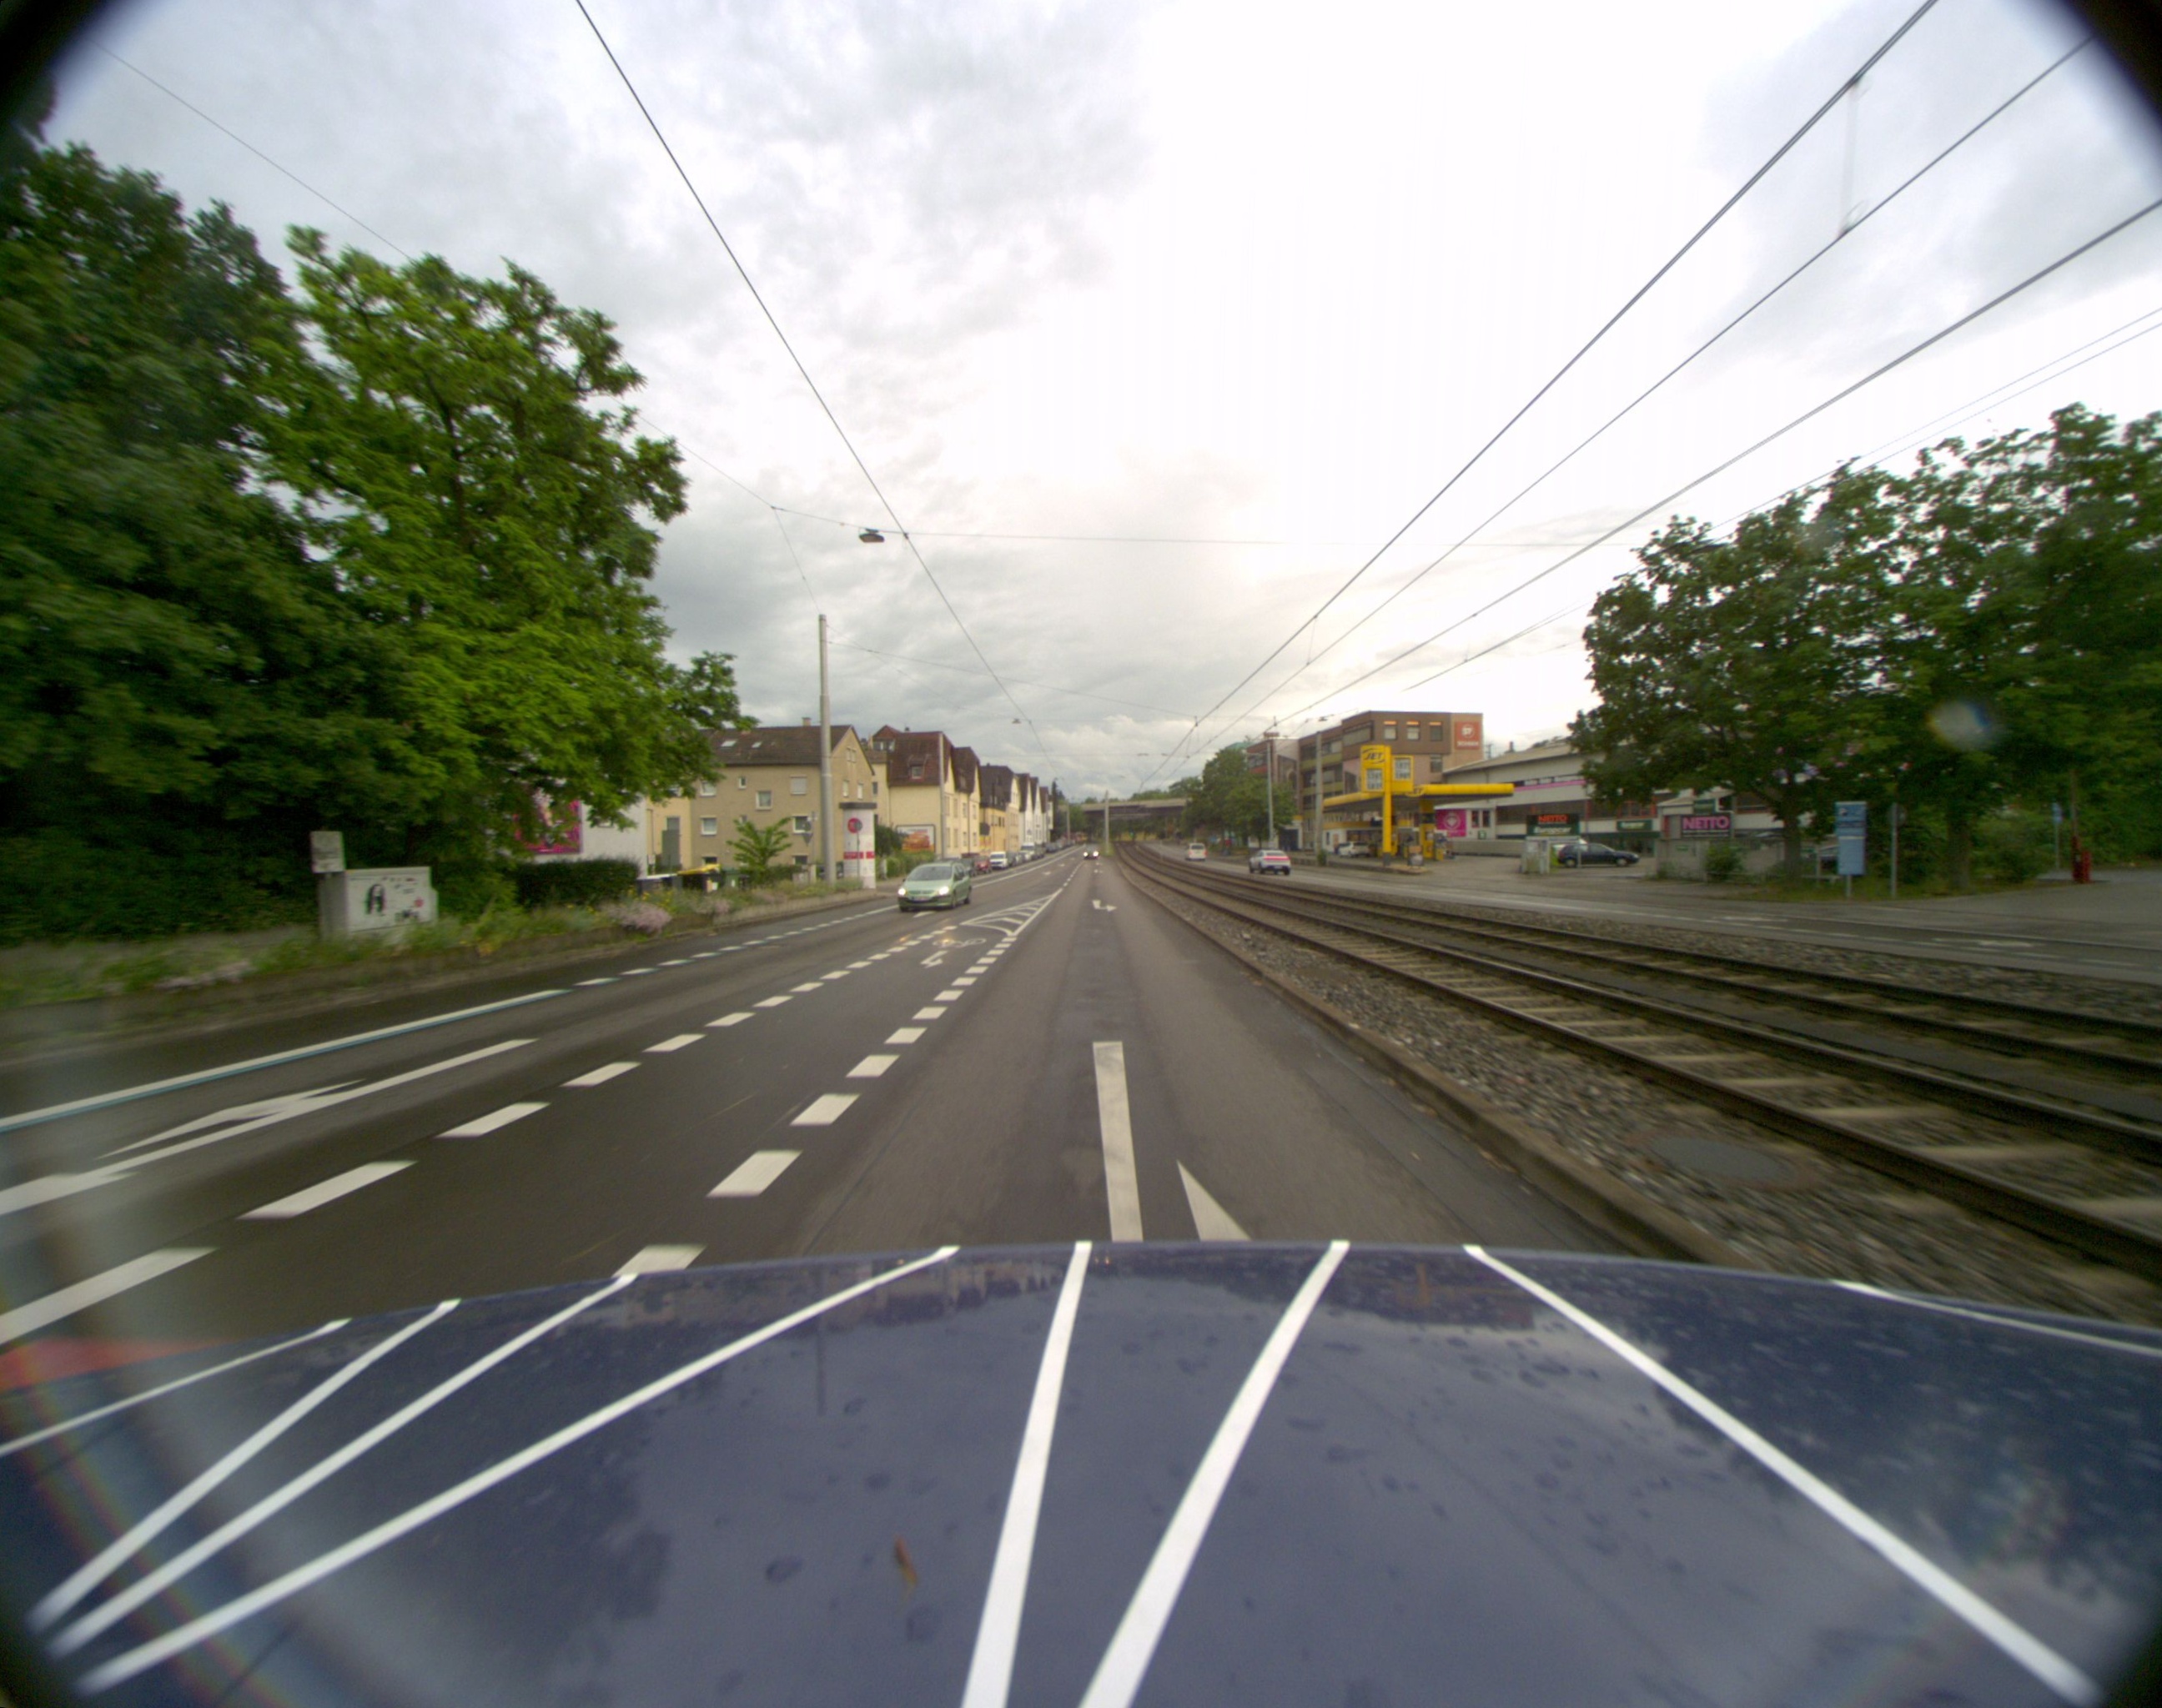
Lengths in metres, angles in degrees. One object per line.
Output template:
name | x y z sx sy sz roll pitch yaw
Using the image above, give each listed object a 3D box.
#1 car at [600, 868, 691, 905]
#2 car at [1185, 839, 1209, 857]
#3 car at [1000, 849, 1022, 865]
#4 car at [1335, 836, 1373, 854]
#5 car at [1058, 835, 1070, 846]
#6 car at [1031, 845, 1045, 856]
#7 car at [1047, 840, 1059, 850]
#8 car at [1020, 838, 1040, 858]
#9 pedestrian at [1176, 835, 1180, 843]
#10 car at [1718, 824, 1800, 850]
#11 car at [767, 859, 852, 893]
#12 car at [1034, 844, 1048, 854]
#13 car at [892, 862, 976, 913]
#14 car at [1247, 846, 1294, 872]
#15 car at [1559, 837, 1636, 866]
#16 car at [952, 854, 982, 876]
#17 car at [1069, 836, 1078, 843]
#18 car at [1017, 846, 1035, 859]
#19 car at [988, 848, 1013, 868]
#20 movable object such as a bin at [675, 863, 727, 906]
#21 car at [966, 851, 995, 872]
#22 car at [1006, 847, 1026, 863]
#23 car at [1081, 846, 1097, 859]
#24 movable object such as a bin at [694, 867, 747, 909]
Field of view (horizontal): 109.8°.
car | -26.391 1.936 46.147 4.284 1.785 1.879 -4 3 1
car | 13.374 -0.708 87.815 1.998 2.002 5.059 1 1 0
car | -7.478 0.297 81.250 1.690 1.503 4.136 -2 2 3
car | 24.215 -0.835 67.592 1.775 1.408 4.073 -3 2 -2
car | -3.444 -2.614 150.354 1.977 1.984 4.434 -2 2 3
car | -6.145 -0.479 109.442 1.726 1.338 4.083 -3 2 1
car | -4.957 -1.616 133.960 1.726 1.539 4.200 -2 2 4
car | -6.816 -0.852 102.440 2.045 2.485 5.919 -3 2 2
pedestrian | 20.806 -3.244 162.354 0.747 1.636 1.021 -1 2 2
car | 45.014 -1.100 50.504 4.099 1.640 1.850 1 1 -9
car | -16.230 1.317 45.582 4.283 1.646 1.879 -4 3 5
car | -6.066 -0.825 115.692 1.726 1.338 4.199 -3 2 1
car | -4.817 1.061 25.470 1.888 1.440 4.200 -2 0 1
car | 12.740 0.304 51.384 1.998 1.640 4.759 1 0 0
car | 30.025 -0.138 44.212 3.591 1.580 1.706 -1 3 38
car | -8.717 0.805 58.174 1.671 1.435 3.927 -3 1 0
car | -1.705 -3.439 177.918 1.726 1.539 4.200 -2 2 4
car | -6.983 -0.181 96.765 1.605 1.456 4.200 -2 2 3
car | -7.952 0.355 75.424 1.852 1.747 4.520 -3 1 0
movable object such as a bin | -13.579 1.082 27.186 1.187 1.410 1.134 -3 2 -1
car | -8.596 0.623 65.439 1.841 1.619 4.098 -3 1 1
car | -7.419 0.125 87.065 1.705 1.557 4.281 -2 2 3
car | 1.044 -0.260 96.898 1.888 1.417 4.199 -3 2 1
movable object such as a bin | -13.548 1.254 28.605 1.314 1.410 1.299 -3 2 -1
